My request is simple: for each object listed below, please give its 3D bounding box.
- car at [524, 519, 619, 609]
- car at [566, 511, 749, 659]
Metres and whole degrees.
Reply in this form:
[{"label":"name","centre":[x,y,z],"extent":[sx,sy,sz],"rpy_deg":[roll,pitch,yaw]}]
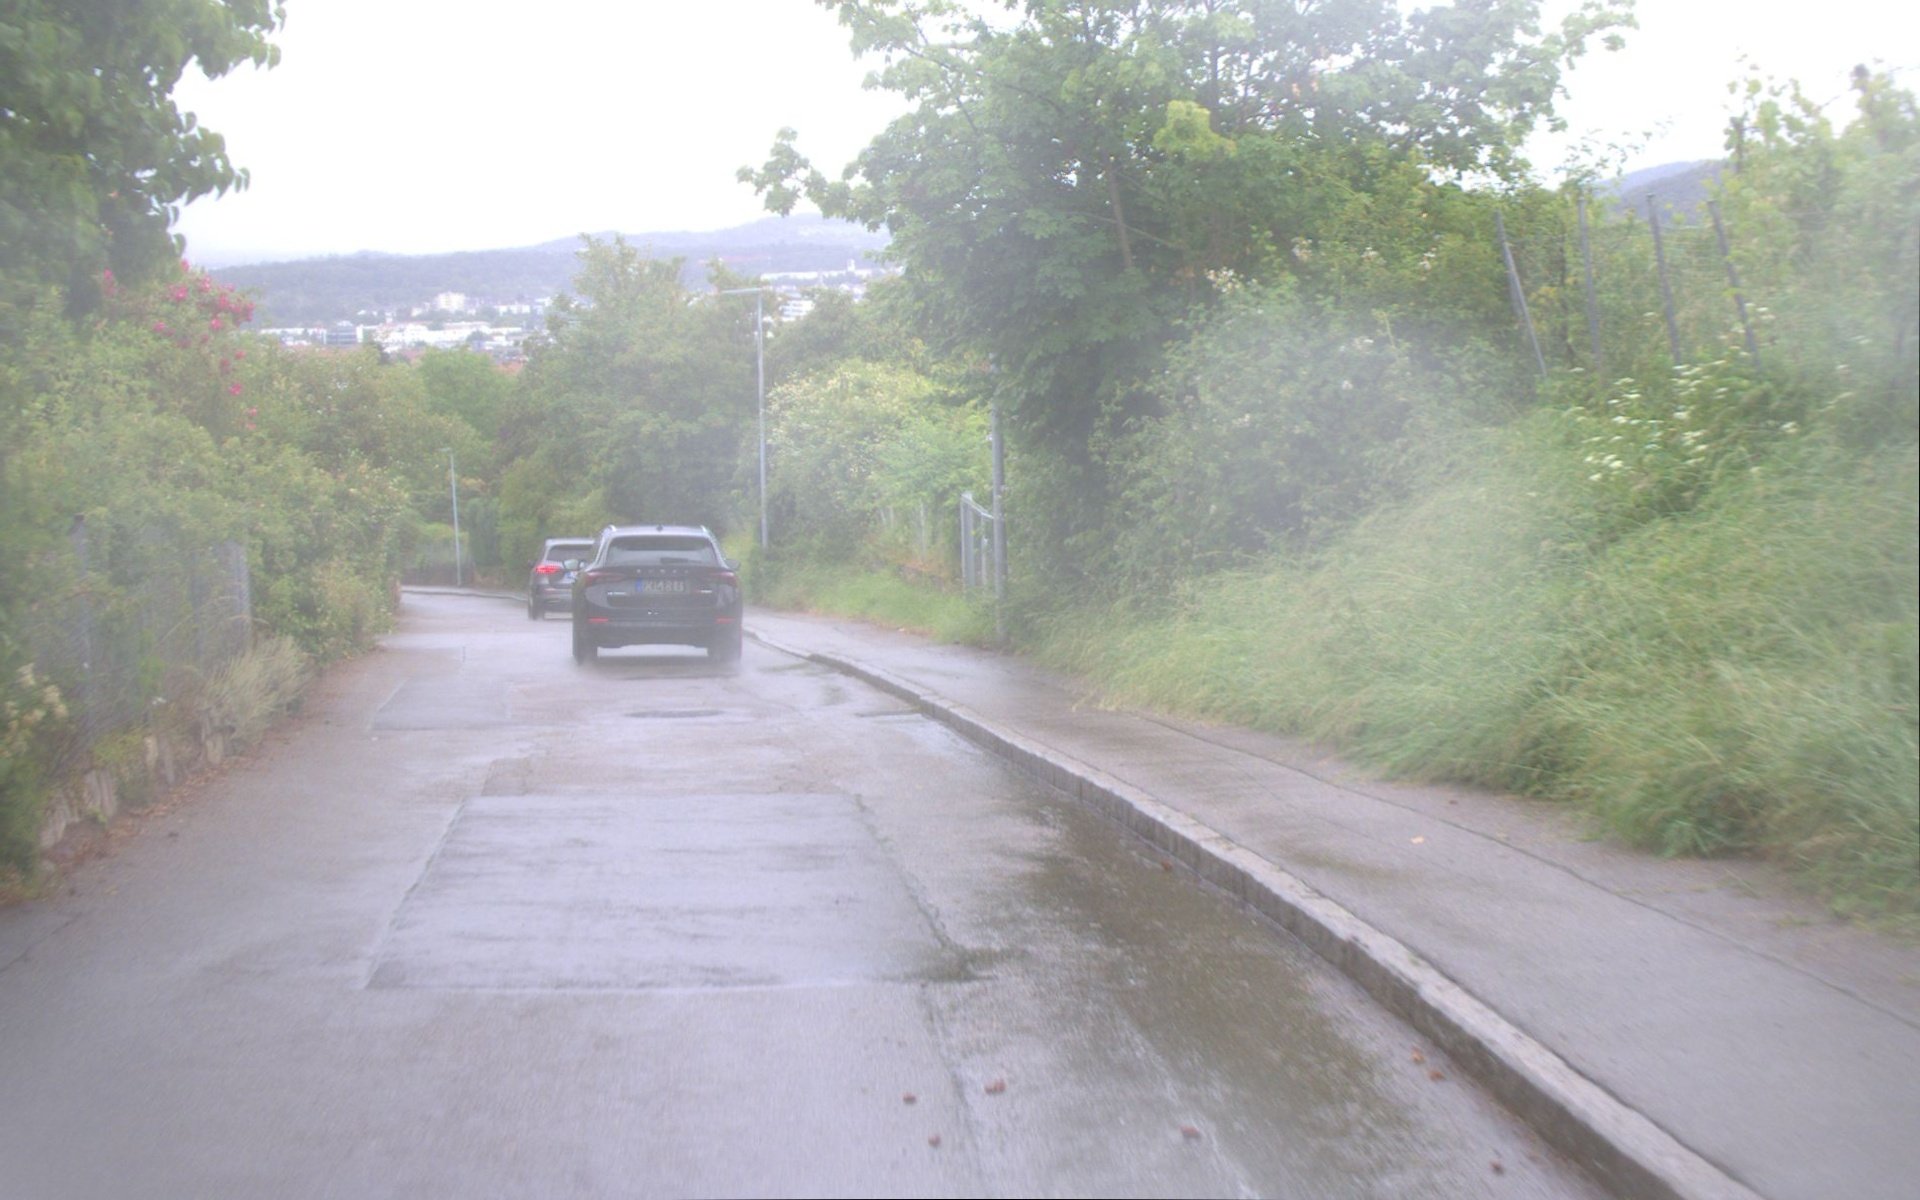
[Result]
[{"label":"car","centre":[-7.385,-0.710,65.162],"extent":[1.677,1.560,3.795],"rpy_deg":[-1,2,-8]},{"label":"car","centre":[-3.304,-0.207,37.350],"extent":[1.834,1.459,4.001],"rpy_deg":[-2,2,-6]}]
